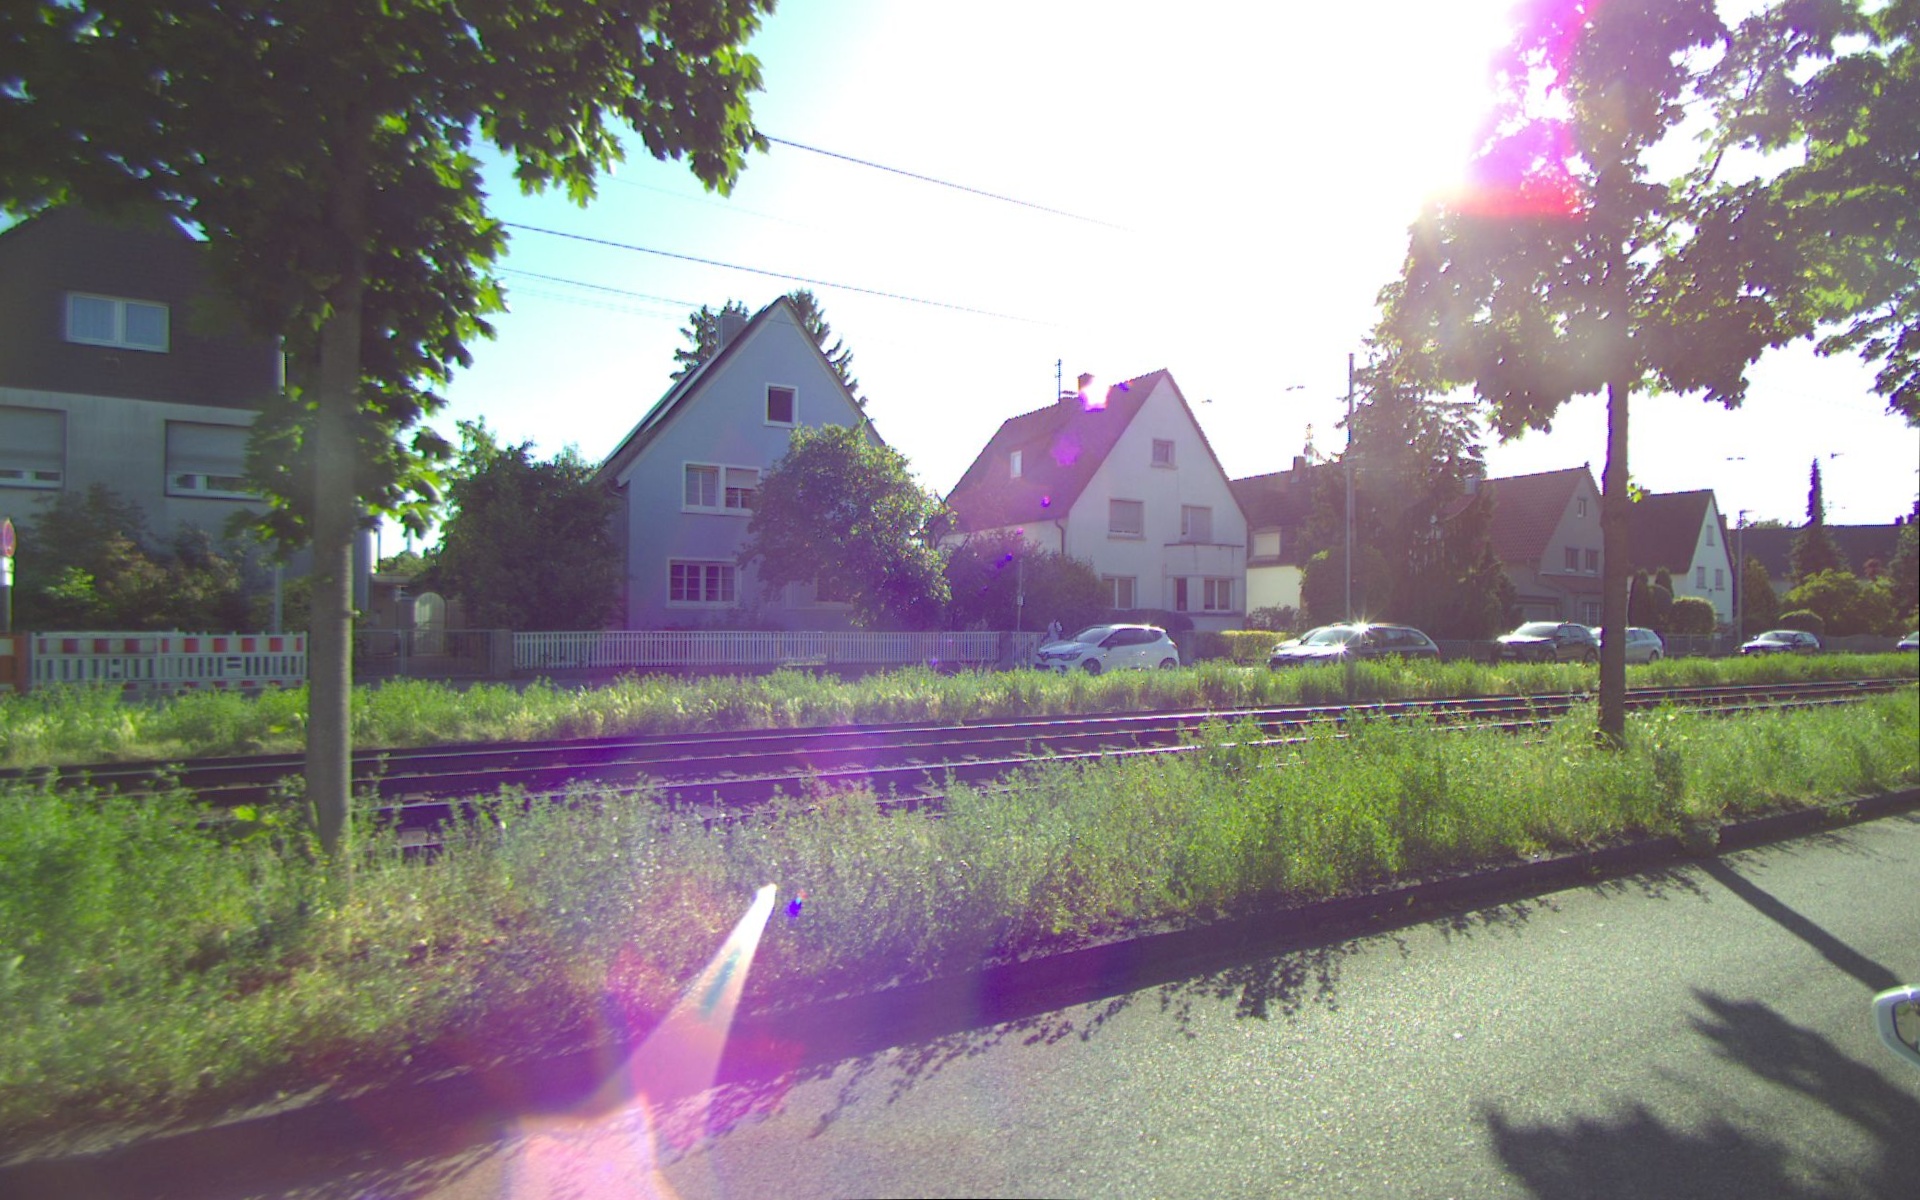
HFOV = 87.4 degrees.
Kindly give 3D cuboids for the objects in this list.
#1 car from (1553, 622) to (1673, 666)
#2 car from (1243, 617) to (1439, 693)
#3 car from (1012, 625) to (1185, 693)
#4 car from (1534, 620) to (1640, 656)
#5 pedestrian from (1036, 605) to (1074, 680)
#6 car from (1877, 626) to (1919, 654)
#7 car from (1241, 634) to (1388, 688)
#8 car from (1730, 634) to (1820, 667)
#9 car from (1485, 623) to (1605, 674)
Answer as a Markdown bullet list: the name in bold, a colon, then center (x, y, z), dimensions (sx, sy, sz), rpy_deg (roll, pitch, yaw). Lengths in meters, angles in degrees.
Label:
- **car**: center (25.253, 1.663, 38.821), dimensions (4.723, 1.566, 1.984), rpy_deg (1, 0, -30)
- **car**: center (8.894, 1.227, 23.320), dimensions (4.754, 1.573, 1.652), rpy_deg (1, 0, -31)
- **car**: center (3.597, 1.469, 25.899), dimensions (4.179, 1.562, 1.851), rpy_deg (1, 0, -31)
- **car**: center (29.941, 1.791, 48.061), dimensions (1.866, 1.472, 3.900), rpy_deg (-1, 1, -29)
- **pedestrian**: center (2.665, 1.182, 28.213), dimensions (0.763, 2.040, 0.677), rpy_deg (1, 0, -30)
- **car**: center (52.517, 2.192, 55.316), dimensions (4.110, 1.432, 1.851), rpy_deg (1, 0, -31)
- **car**: center (10.865, 1.805, 30.672), dimensions (4.549, 1.485, 1.721), rpy_deg (1, 0, -31)
- **car**: center (37.222, 2.269, 45.844), dimensions (4.179, 1.388, 1.851), rpy_deg (1, 0, -31)
- **car**: center (20.925, 1.709, 35.906), dimensions (4.502, 1.672, 1.739), rpy_deg (1, 0, -31)
